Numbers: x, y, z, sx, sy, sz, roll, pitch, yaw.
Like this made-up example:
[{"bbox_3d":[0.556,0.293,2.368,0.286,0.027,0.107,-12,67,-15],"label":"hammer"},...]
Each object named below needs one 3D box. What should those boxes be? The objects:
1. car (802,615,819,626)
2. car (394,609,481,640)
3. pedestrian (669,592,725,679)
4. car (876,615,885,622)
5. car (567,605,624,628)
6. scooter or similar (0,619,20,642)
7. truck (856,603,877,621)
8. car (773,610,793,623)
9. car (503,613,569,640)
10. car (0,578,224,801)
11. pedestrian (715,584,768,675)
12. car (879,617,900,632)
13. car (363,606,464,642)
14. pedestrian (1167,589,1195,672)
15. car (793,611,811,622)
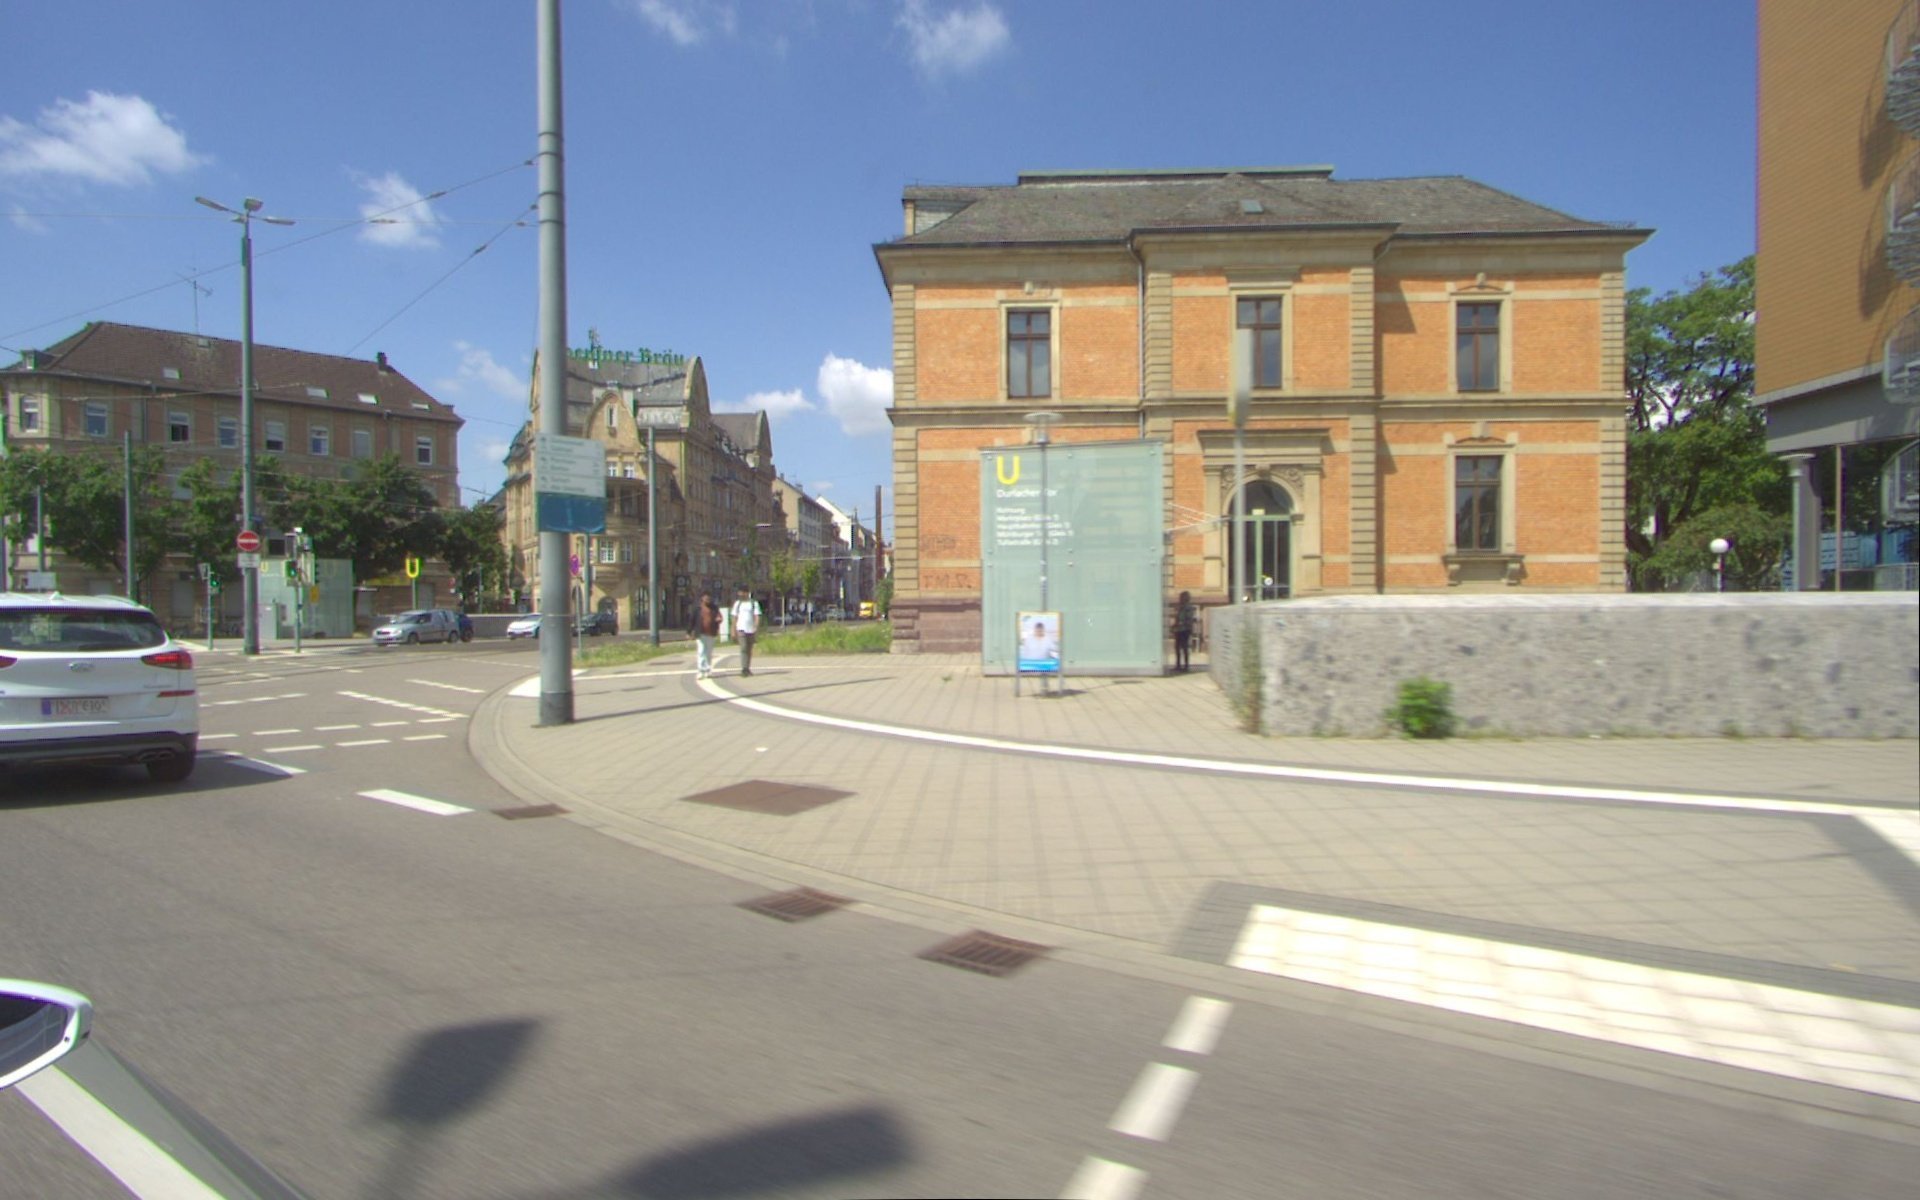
[{"bbox_3d":[-21.261,2.890,142.438,1.690,1.493,4.140,0,-1,1],"label":"car"},{"bbox_3d":[-26.105,1.202,50.217,1.691,1.493,4.137,0,0,11],"label":"car"},{"bbox_3d":[-5.275,0.695,20.141,0.847,1.680,0.966,-2,1,-2],"label":"pedestrian"},{"bbox_3d":[-17.555,4.088,221.618,1.690,1.493,4.140,0,-1,1],"label":"car"},{"bbox_3d":[-24.118,1.081,66.355,1.691,1.493,4.137,0,0,11],"label":"car"},{"bbox_3d":[-49.573,1.566,51.889,0.375,1.189,1.522,0,-2,-6],"label":"scooter or similar"},{"bbox_3d":[-15.066,1.931,161.304,2.513,2.966,7.110,0,0,1],"label":"truck"},{"bbox_3d":[-21.950,2.028,124.212,1.690,1.493,4.140,0,-1,1],"label":"car"},{"bbox_3d":[-25.006,1.545,59.191,1.690,1.493,4.138,0,-1,8],"label":"car"},{"bbox_3d":[-8.565,0.683,9.090,4.177,1.663,1.875,0,0,36],"label":"car"},{"bbox_3d":[-4.412,0.581,20.294,0.847,1.775,0.757,-2,1,-3],"label":"pedestrian"},{"bbox_3d":[-7.563,2.625,107.756,1.690,1.493,4.139,0,-1,4],"label":"car"},{"bbox_3d":[-23.992,1.028,44.141,1.691,1.493,4.137,0,0,11],"label":"car"},{"bbox_3d":[4.348,0.604,19.685,0.482,1.592,0.601,-1,-1,16],"label":"pedestrian"},{"bbox_3d":[-21.397,2.254,135.964,1.690,1.493,4.140,0,-1,1],"label":"car"}]
